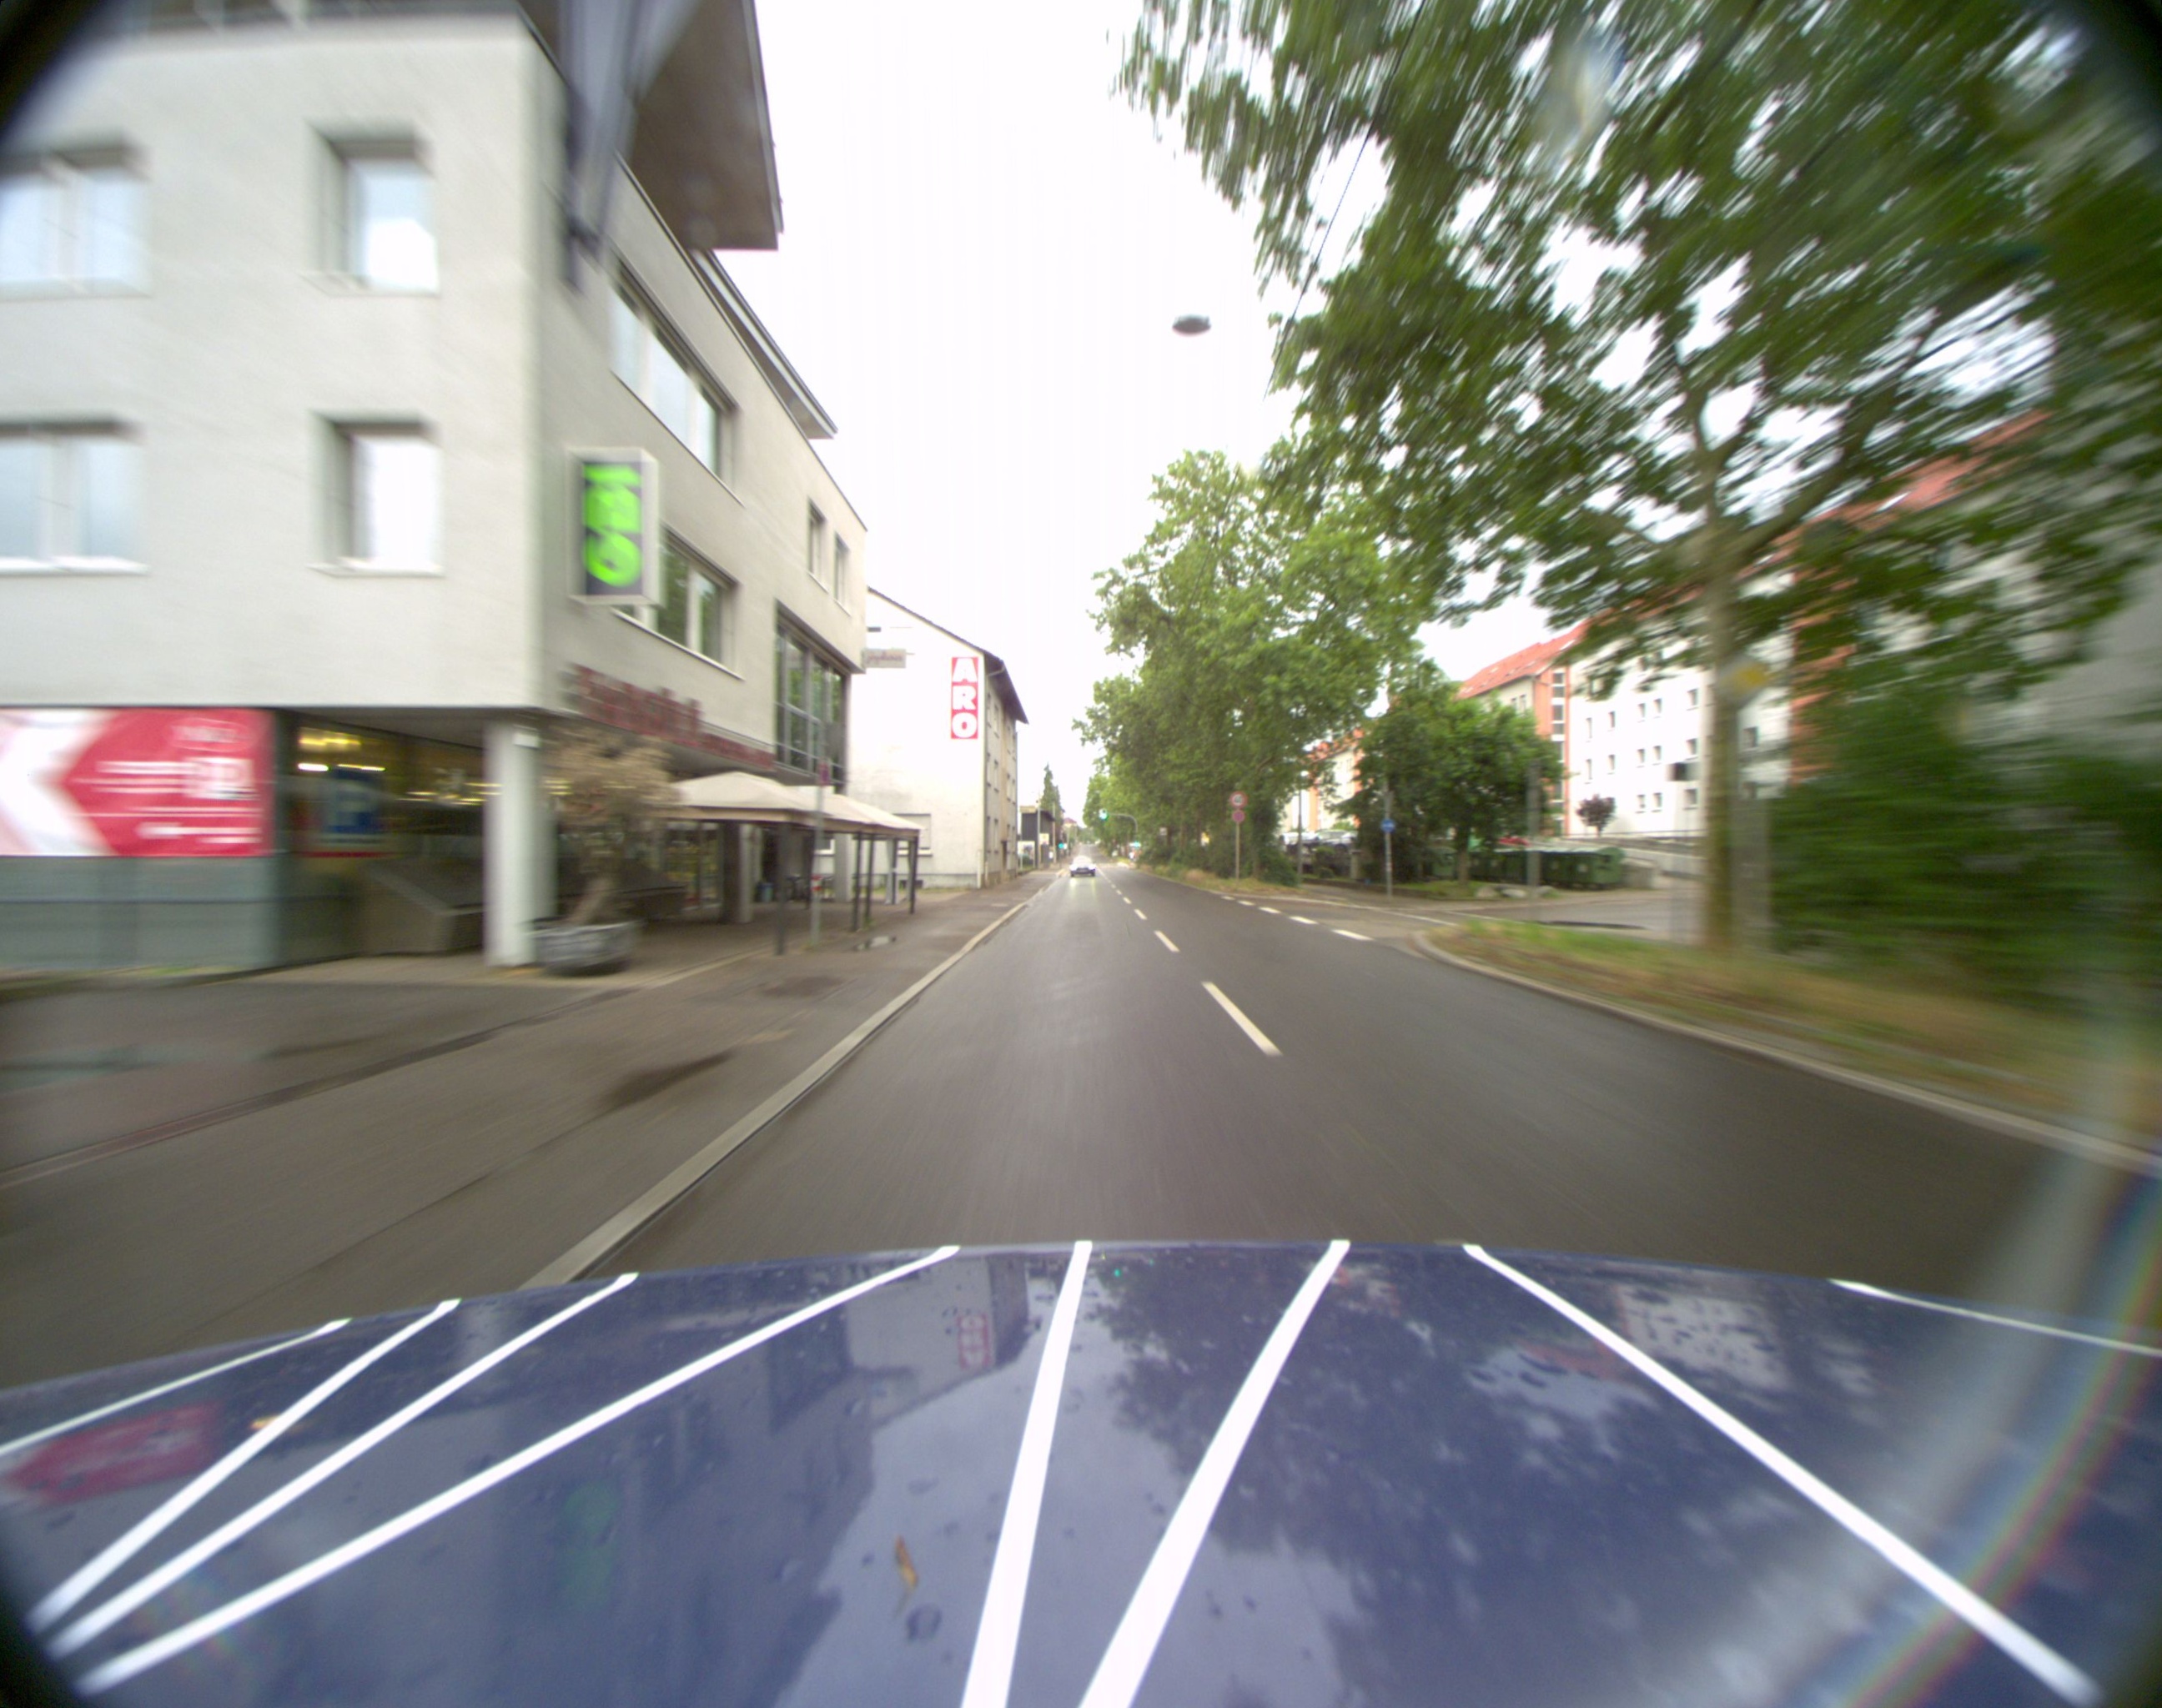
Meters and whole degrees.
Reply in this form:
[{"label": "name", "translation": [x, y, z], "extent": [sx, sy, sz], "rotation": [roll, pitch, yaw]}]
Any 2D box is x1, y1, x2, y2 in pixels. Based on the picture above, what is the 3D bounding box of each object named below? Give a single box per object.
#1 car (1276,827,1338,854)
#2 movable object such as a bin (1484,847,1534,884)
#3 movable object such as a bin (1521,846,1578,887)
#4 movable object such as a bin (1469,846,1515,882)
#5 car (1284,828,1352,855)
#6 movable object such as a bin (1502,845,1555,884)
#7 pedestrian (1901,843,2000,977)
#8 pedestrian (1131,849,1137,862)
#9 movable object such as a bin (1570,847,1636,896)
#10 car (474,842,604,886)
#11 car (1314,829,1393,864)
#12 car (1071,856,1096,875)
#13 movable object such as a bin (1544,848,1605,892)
[{"label": "car", "translation": [15.926, -0.942, 53.634], "extent": [3.802, 1.679, 1.738], "rotation": [-2, 1, -2]}, {"label": "movable object such as a bin", "translation": [17.314, 0.446, 30.742], "extent": [1.164, 1.379, 1.301], "rotation": [-6, 0, -1]}, {"label": "movable object such as a bin", "translation": [17.261, 0.456, 28.020], "extent": [1.164, 1.379, 1.301], "rotation": [-6, 0, -1]}, {"label": "movable object such as a bin", "translation": [17.343, 0.427, 32.085], "extent": [1.164, 1.379, 1.225], "rotation": [-6, 0, -1]}, {"label": "car", "translation": [15.858, -0.822, 50.950], "extent": [3.997, 1.784, 1.959], "rotation": [0, 0, 0]}, {"label": "movable object such as a bin", "translation": [17.294, 0.405, 29.395], "extent": [1.164, 1.379, 1.301], "rotation": [-6, 0, -1]}, {"label": "pedestrian", "translation": [10.778, 0.674, 9.435], "extent": [0.541, 1.621, 0.591], "rotation": [0, 1, -2]}, {"label": "pedestrian", "translation": [6.737, 0.195, 96.309], "extent": [0.648, 1.674, 0.631], "rotation": [0, 1, 0]}, {"label": "movable object such as a bin", "translation": [17.221, 0.555, 25.093], "extent": [1.164, 1.455, 1.301], "rotation": [-6, 0, -1]}, {"label": "car", "translation": [-24.221, 0.428, 34.057], "extent": [4.312, 1.860, 2.021], "rotation": [-1, 1, 1]}, {"label": "car", "translation": [15.791, -0.426, 44.179], "extent": [3.995, 2.002, 1.957], "rotation": [0, 0, 6]}, {"label": "car", "translation": [0.182, 0.828, 56.308], "extent": [1.692, 1.334, 3.999], "rotation": [0, 0, -2]}, {"label": "movable object such as a bin", "translation": [17.213, 0.544, 26.522], "extent": [1.164, 1.407, 1.301], "rotation": [-6, 0, -1]}]
